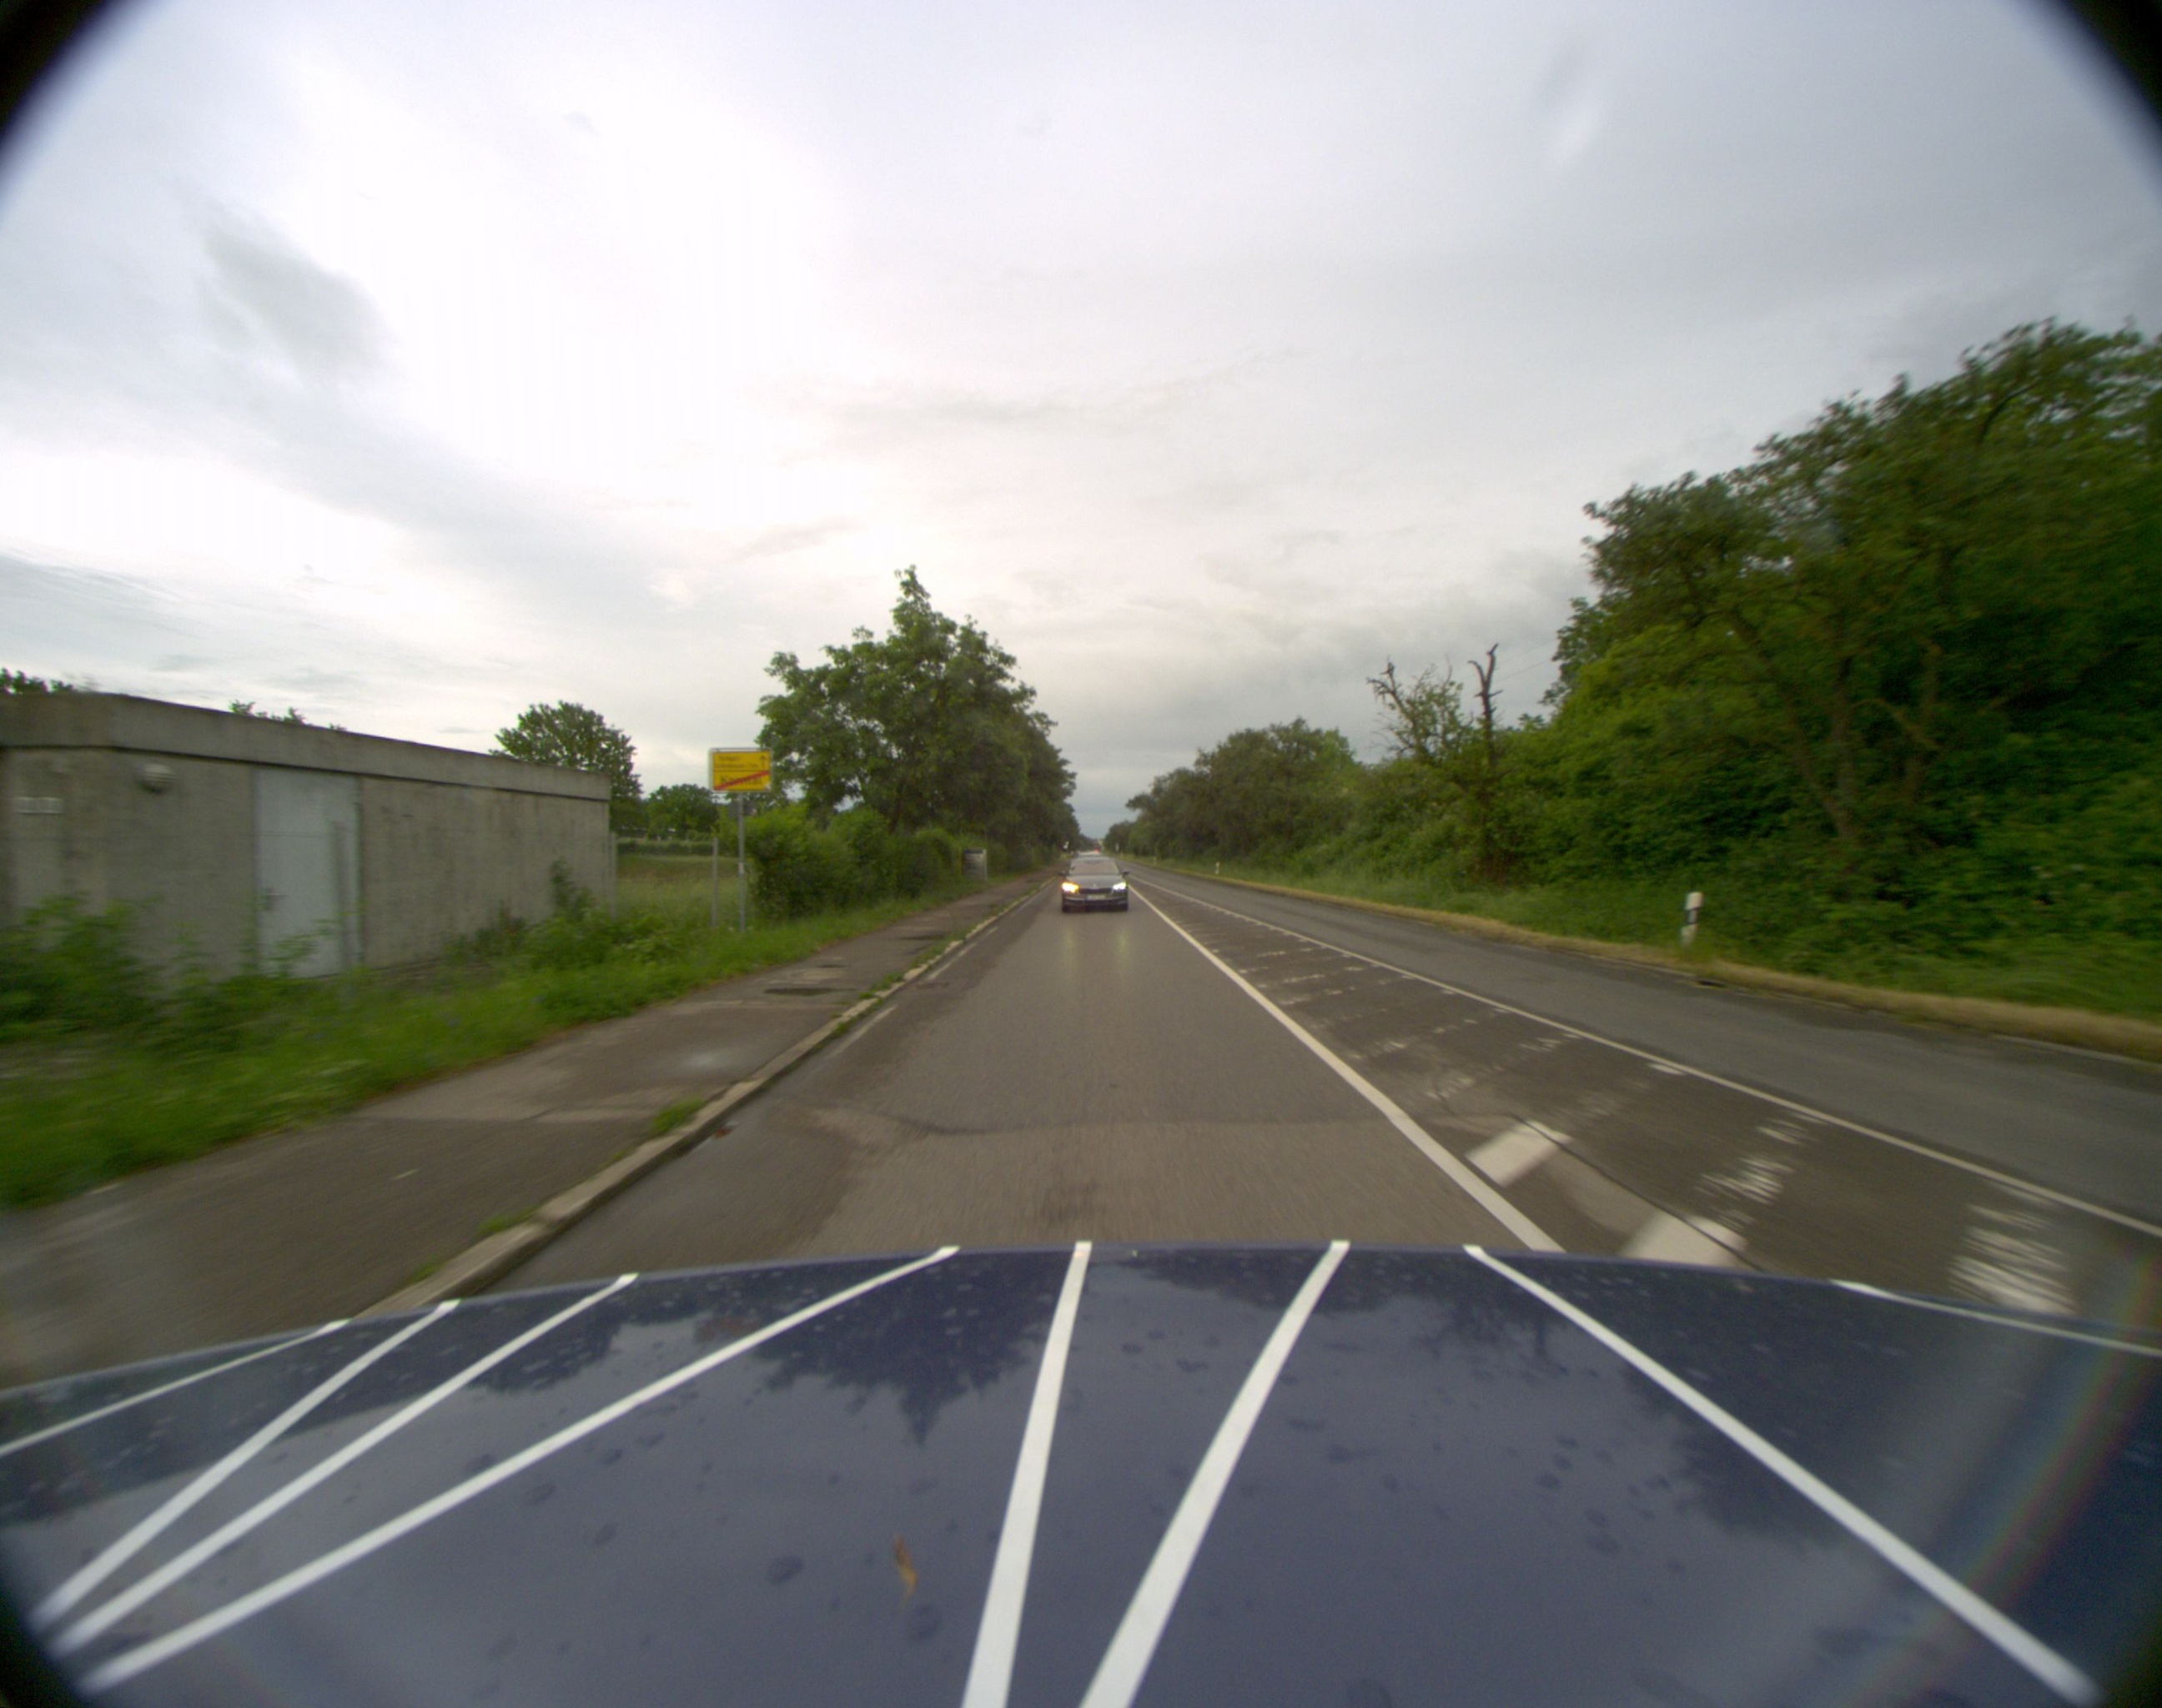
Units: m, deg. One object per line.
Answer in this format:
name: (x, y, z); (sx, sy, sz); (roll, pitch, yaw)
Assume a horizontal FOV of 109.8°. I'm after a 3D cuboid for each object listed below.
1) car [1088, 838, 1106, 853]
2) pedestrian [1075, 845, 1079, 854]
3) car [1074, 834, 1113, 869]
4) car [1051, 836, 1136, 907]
car: (1.763, -0.931, 85.467); (1.887, 1.543, 3.475); (-3, 2, 1)
pedestrian: (-0.856, -0.826, 149.723); (0.663, 1.769, 0.759); (-1, 2, -16)
car: (0.646, -0.169, 41.039); (1.915, 1.691, 3.912); (-3, 2, 1)
car: (0.316, 0.371, 20.028); (1.915, 1.543, 4.353); (-3, 2, 1)
